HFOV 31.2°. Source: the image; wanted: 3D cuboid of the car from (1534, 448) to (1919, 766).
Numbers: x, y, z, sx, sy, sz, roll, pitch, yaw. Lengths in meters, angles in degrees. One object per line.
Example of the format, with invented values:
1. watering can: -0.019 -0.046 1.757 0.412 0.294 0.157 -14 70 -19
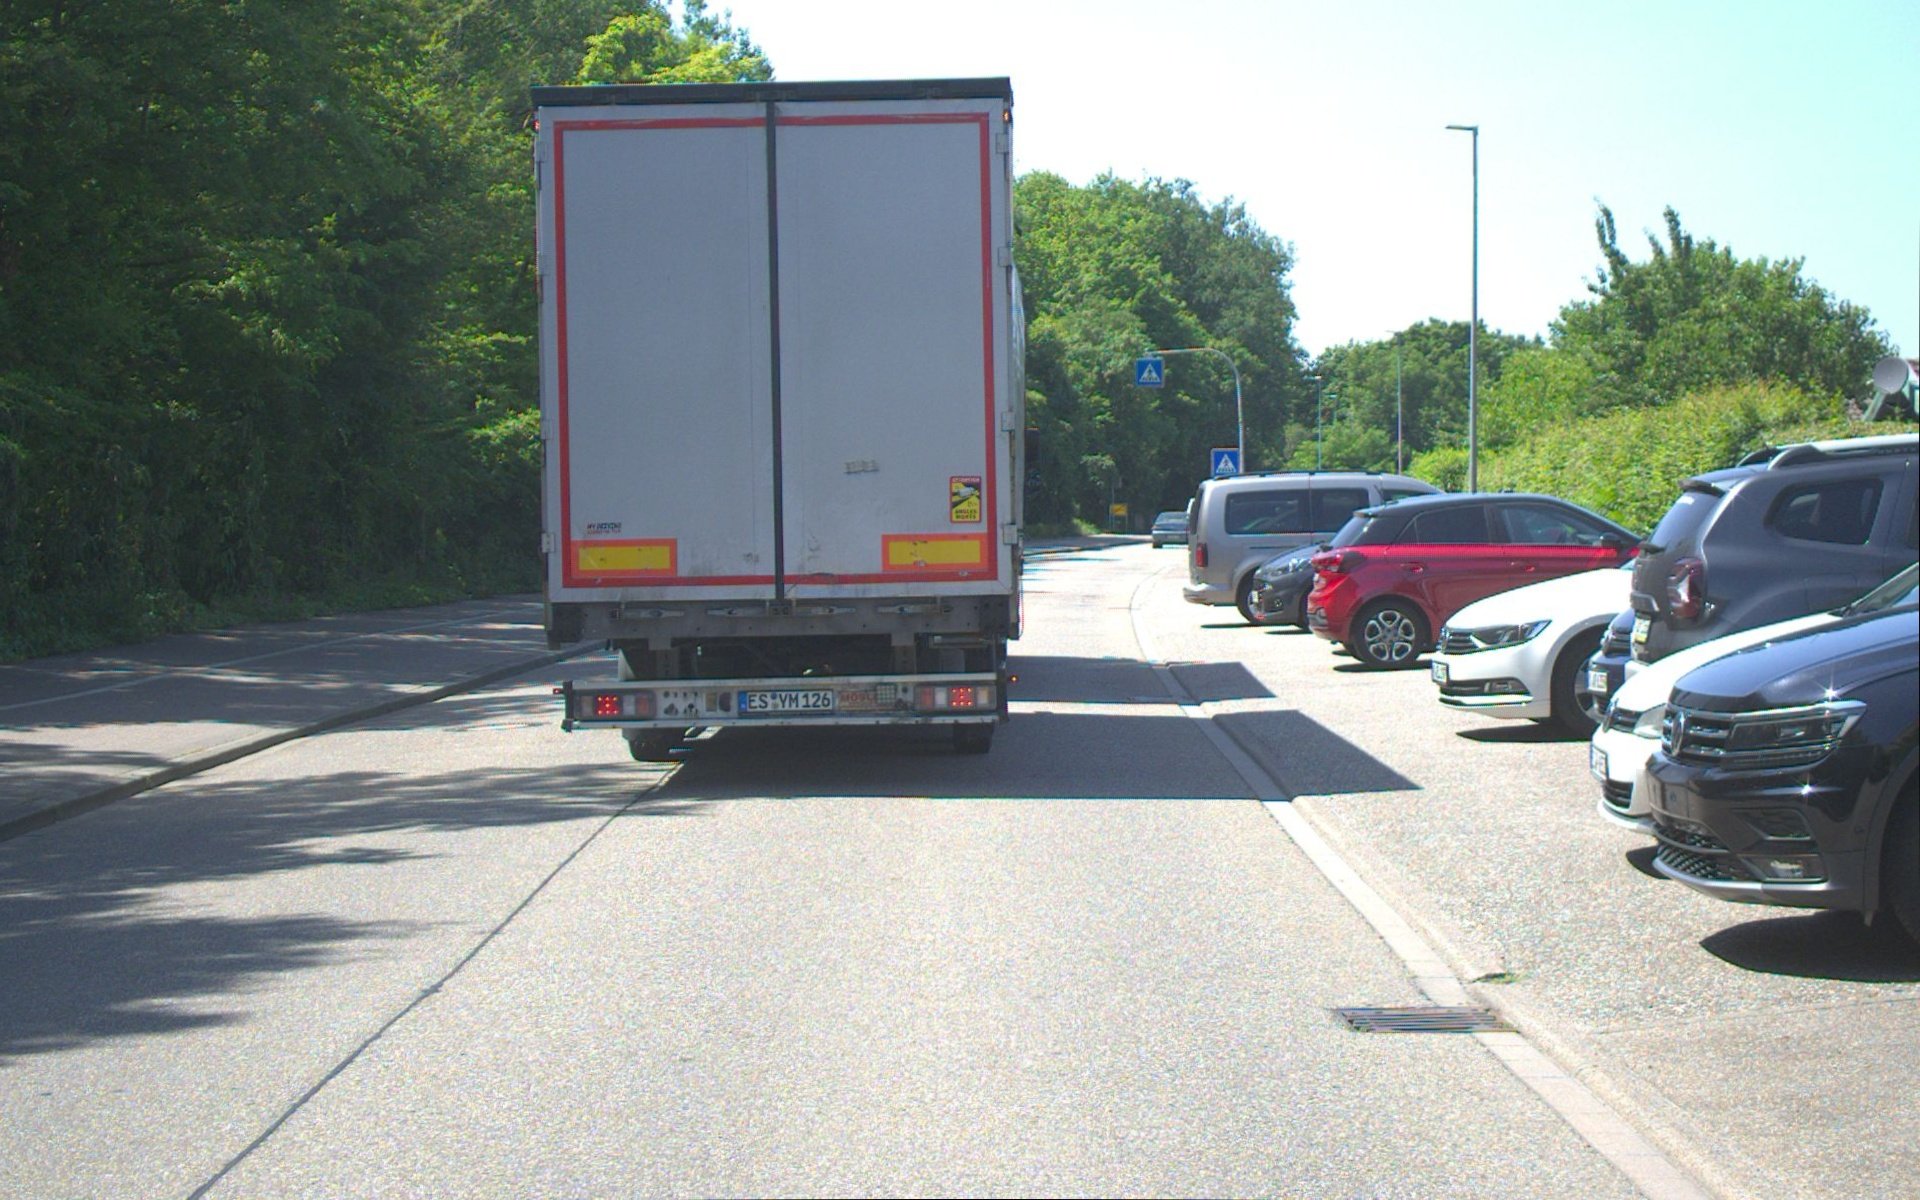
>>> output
1. car: 5.372 -0.062 18.867 4.049 1.543 1.758 -4 2 -1

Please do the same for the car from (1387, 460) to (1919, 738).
1. car: 5.111 -0.083 21.331 4.557 1.434 1.962 -4 2 -2

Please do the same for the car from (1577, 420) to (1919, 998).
1. car: 4.498 0.172 11.323 4.470 1.698 1.914 -4 2 -1

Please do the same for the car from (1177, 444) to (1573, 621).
1. car: 5.067 -0.847 42.529 4.621 1.842 1.996 -4 2 3

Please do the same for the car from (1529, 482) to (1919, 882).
1. car: 4.484 0.219 14.026 3.997 1.447 1.832 -3 2 2

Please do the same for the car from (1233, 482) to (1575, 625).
1. car: 5.048 -0.546 39.426 3.575 1.497 1.842 -2 2 -3

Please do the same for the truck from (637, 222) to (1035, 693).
1. truck: -0.935 -1.227 30.730 3.114 3.712 6.414 -1 2 1

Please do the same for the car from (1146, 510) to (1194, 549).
1. car: 8.004 -2.700 131.052 1.781 1.481 4.000 0 2 3

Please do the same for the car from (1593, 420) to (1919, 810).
1. car: 5.350 -0.059 16.443 4.258 1.692 1.853 -4 2 3

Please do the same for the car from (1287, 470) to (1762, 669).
1. car: 4.996 -0.295 30.828 3.919 1.473 1.845 -4 2 2

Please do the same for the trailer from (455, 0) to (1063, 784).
1. trailer: -1.022 -1.269 23.831 3.113 4.088 11.537 -1 2 0
